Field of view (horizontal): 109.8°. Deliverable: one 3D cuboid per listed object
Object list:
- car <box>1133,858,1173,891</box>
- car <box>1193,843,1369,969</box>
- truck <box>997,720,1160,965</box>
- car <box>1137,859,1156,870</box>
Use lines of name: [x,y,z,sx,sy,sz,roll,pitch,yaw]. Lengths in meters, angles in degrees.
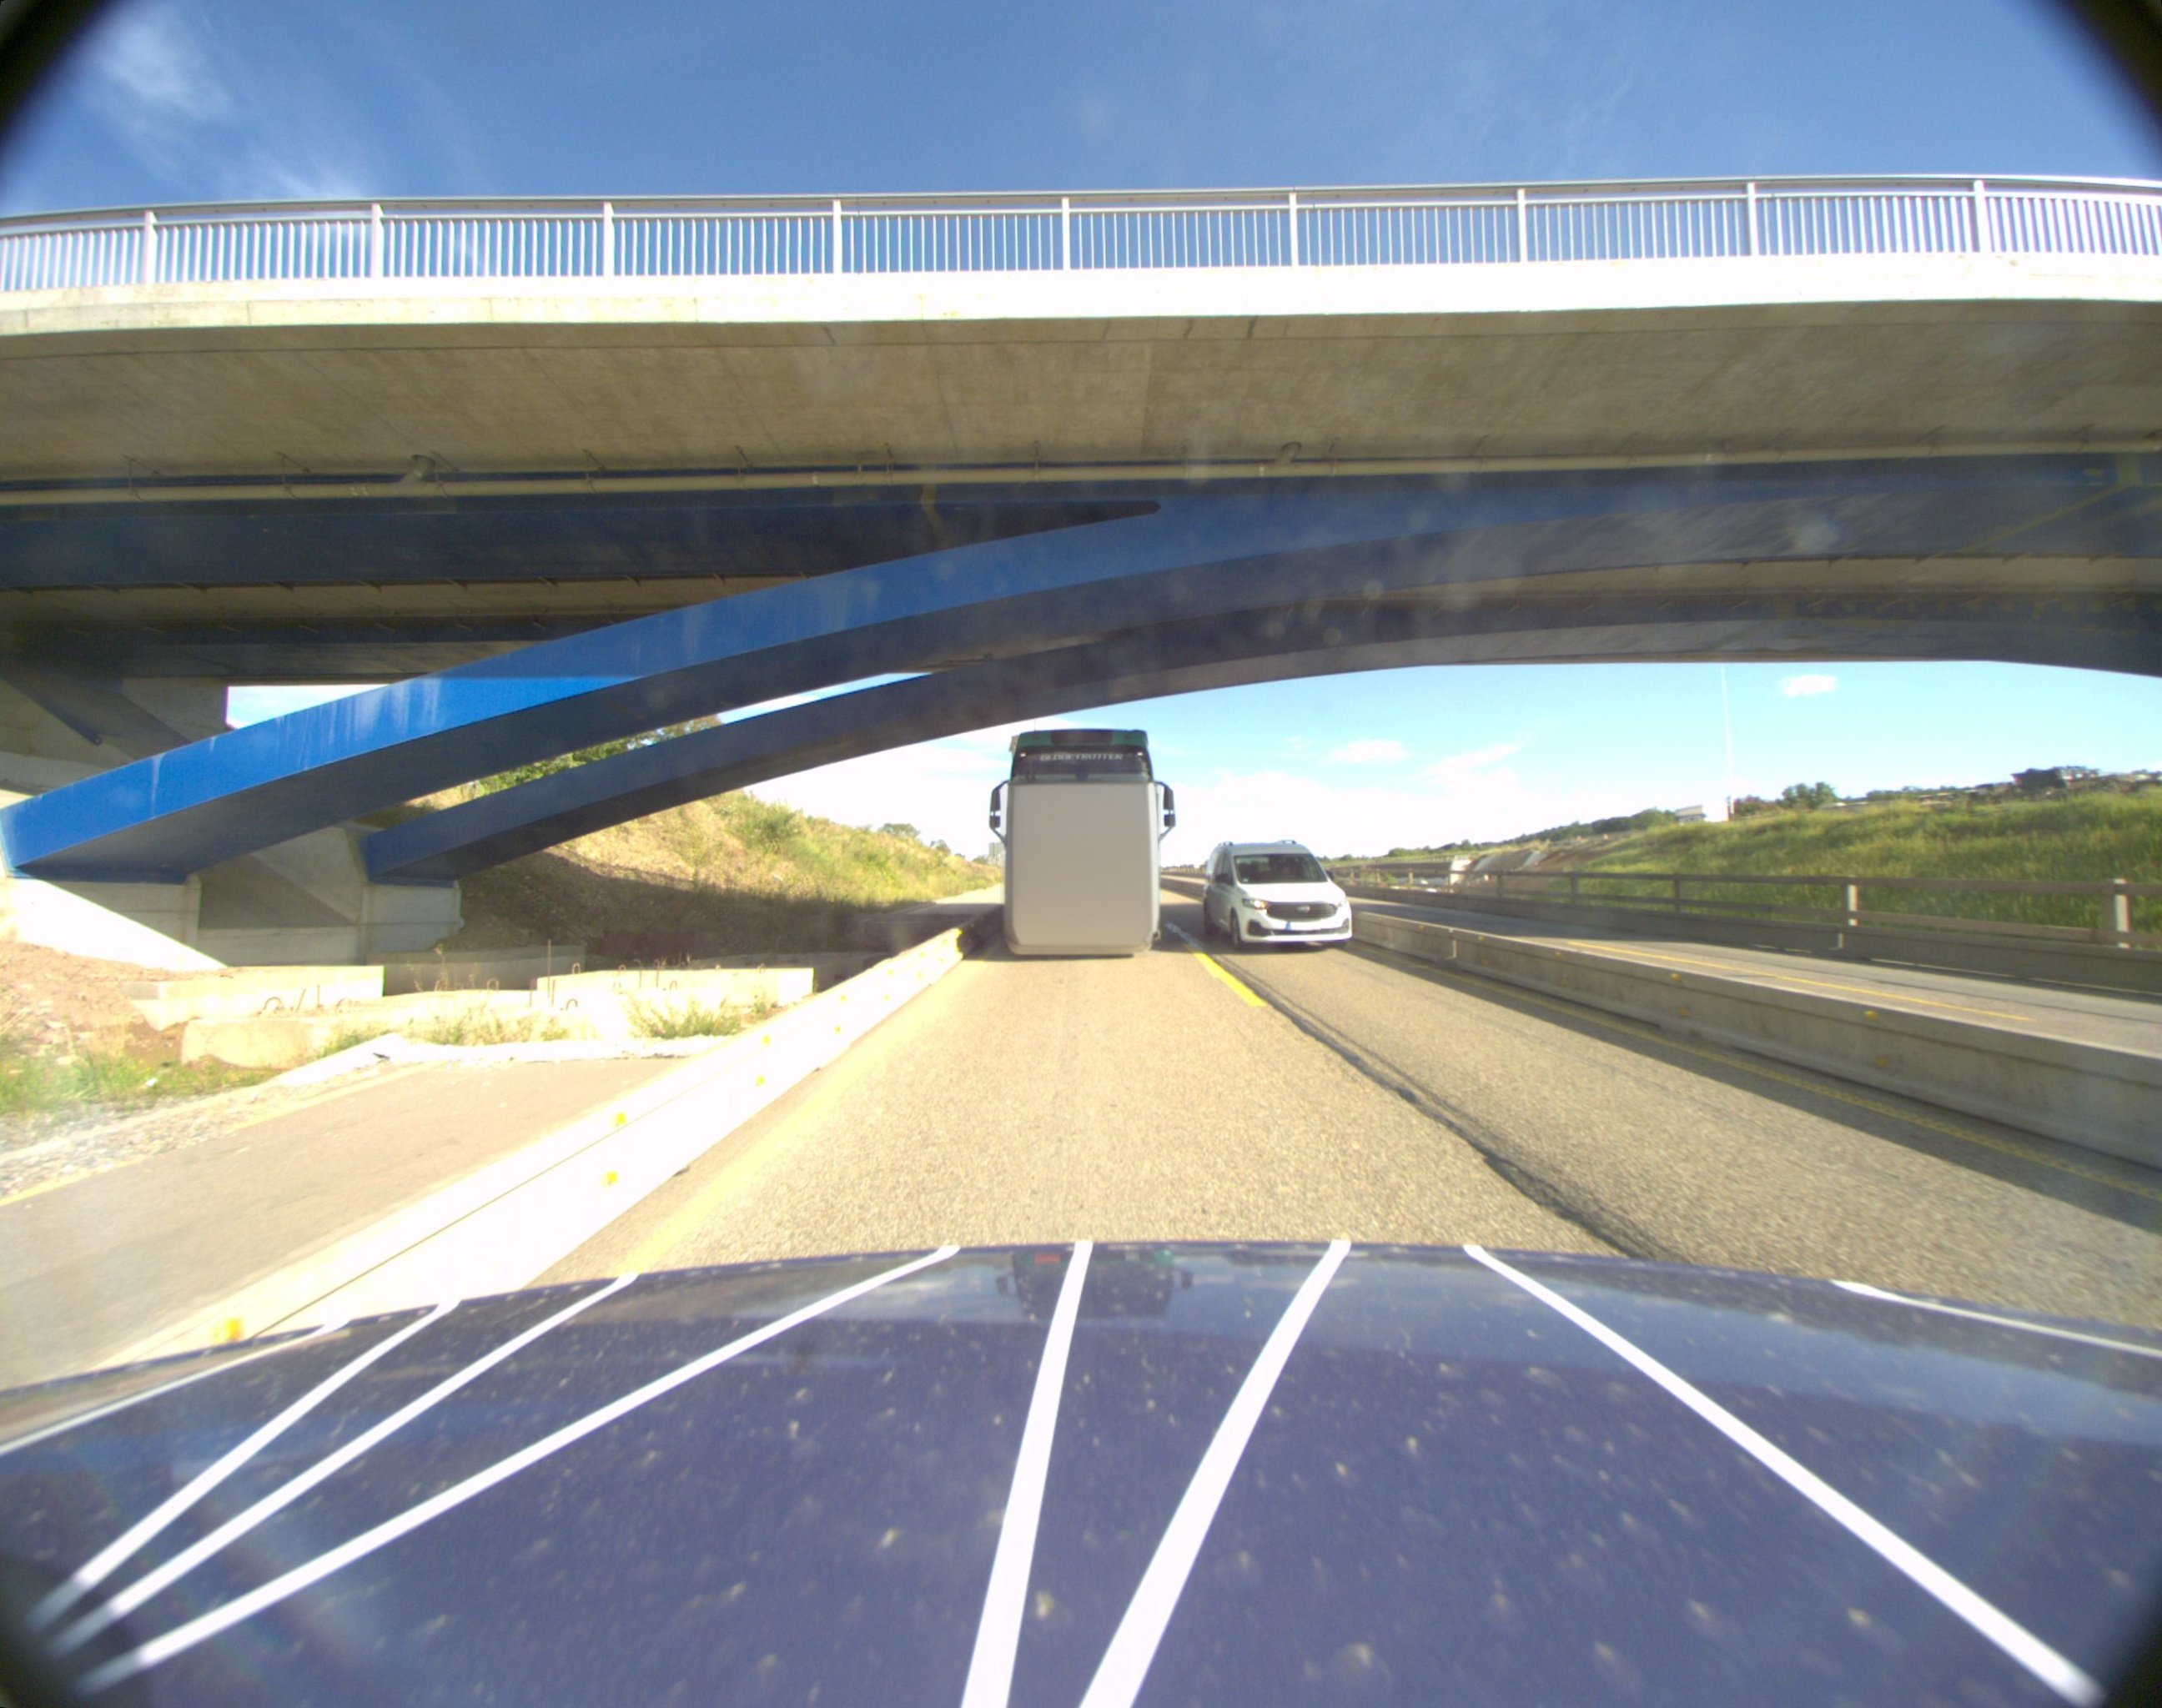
car: [3.532,0.989,37.954,1.719,1.499,4.000,-2,0,2]
car: [3.332,0.794,13.613,1.828,1.813,4.456,-3,0,-1]
truck: [-0.062,-0.179,16.424,2.546,3.899,8.279,-1,0,0]
car: [6.785,1.088,78.844,1.673,1.149,4.218,1,0,0]
